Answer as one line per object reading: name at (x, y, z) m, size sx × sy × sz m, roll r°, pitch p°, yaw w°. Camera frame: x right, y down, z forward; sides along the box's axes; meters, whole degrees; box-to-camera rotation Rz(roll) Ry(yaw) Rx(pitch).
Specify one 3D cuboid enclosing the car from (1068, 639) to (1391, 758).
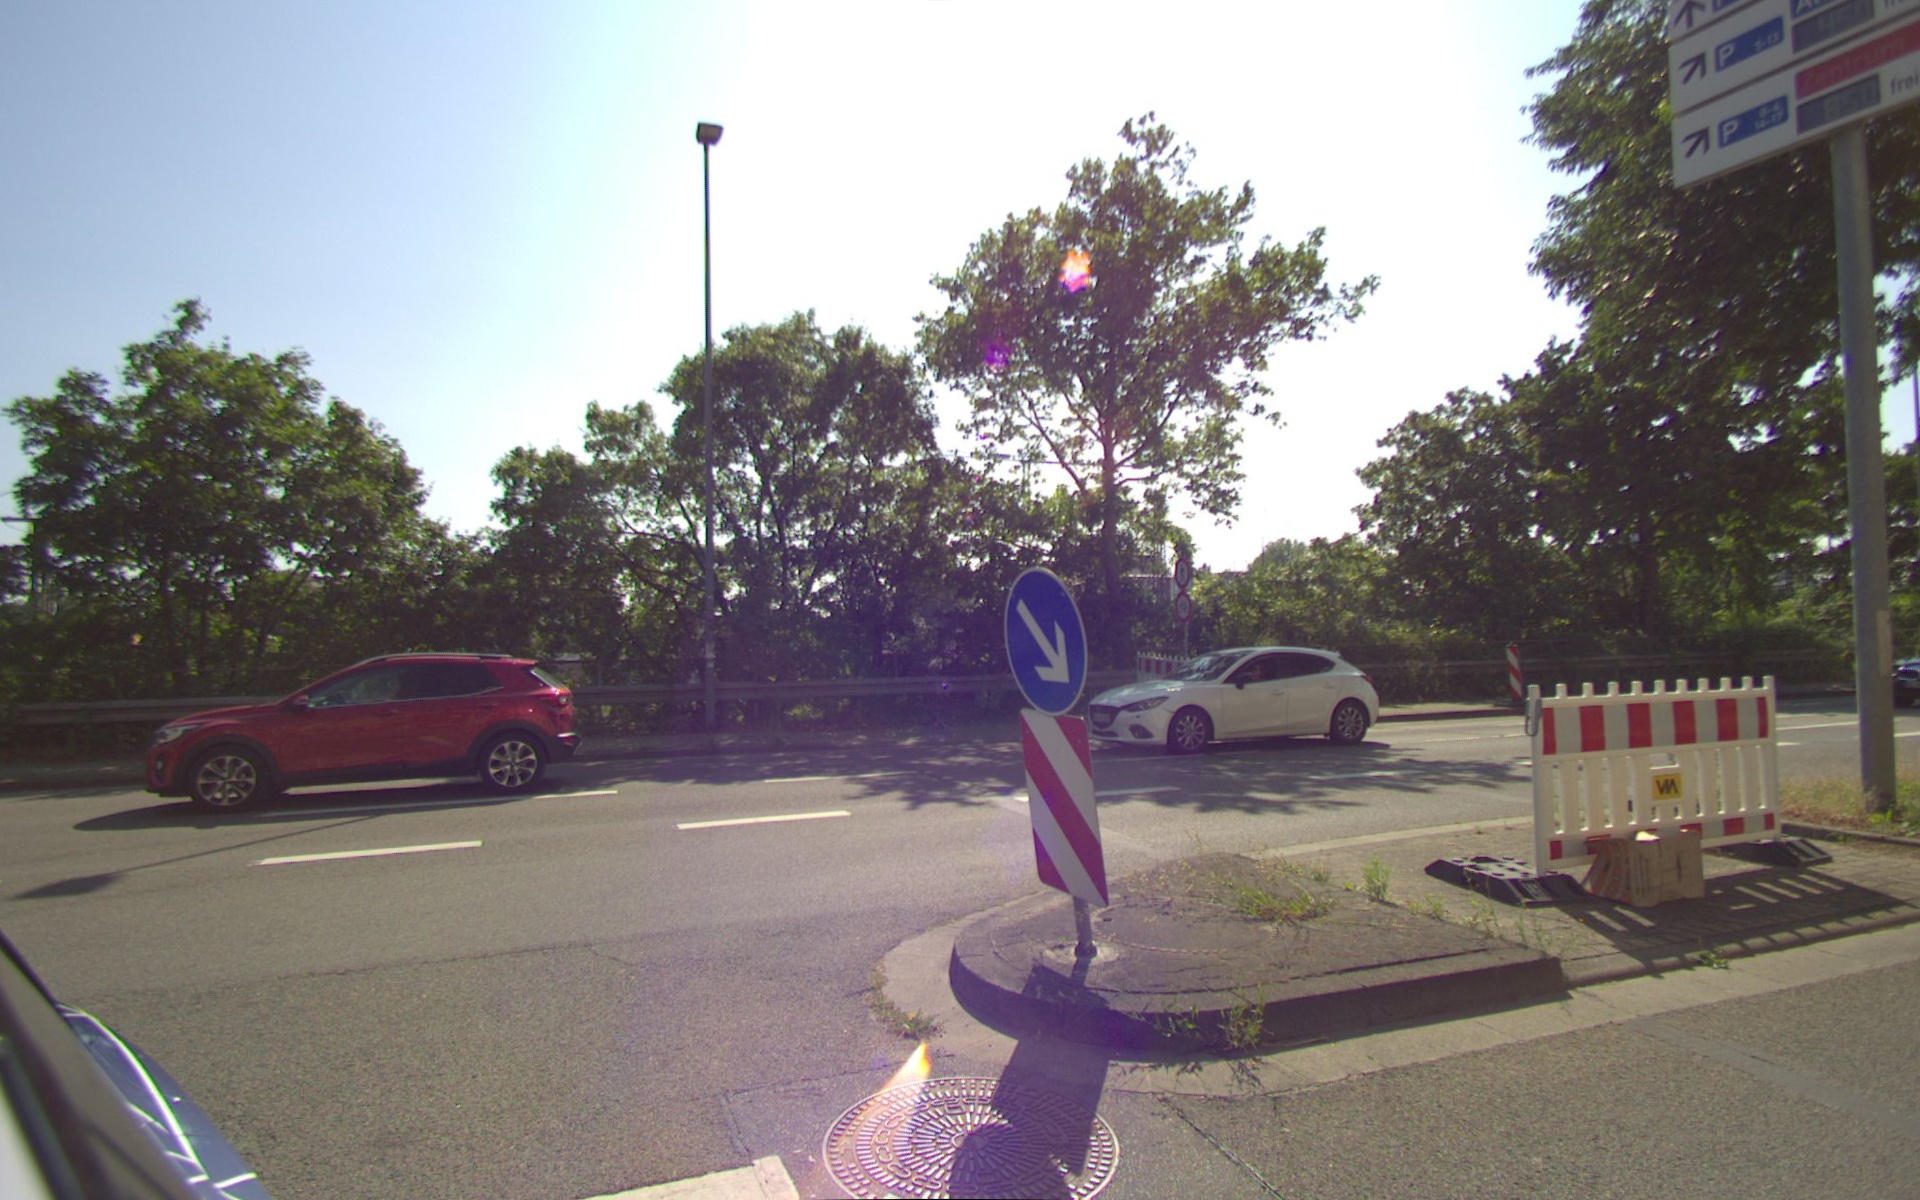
car at (3.871, 1.365, 14.689) m, size 4.132 × 1.464 × 1.876 m, roll 0°, pitch -4°, yaw -20°

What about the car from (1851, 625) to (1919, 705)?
car at (19.320, 1.148, 18.733) m, size 4.537 × 1.423 × 2.006 m, roll -1°, pitch -4°, yaw -16°

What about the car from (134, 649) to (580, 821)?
car at (-6.252, 1.350, 11.048) m, size 3.895 × 1.531 × 1.808 m, roll 0°, pitch -3°, yaw -22°
